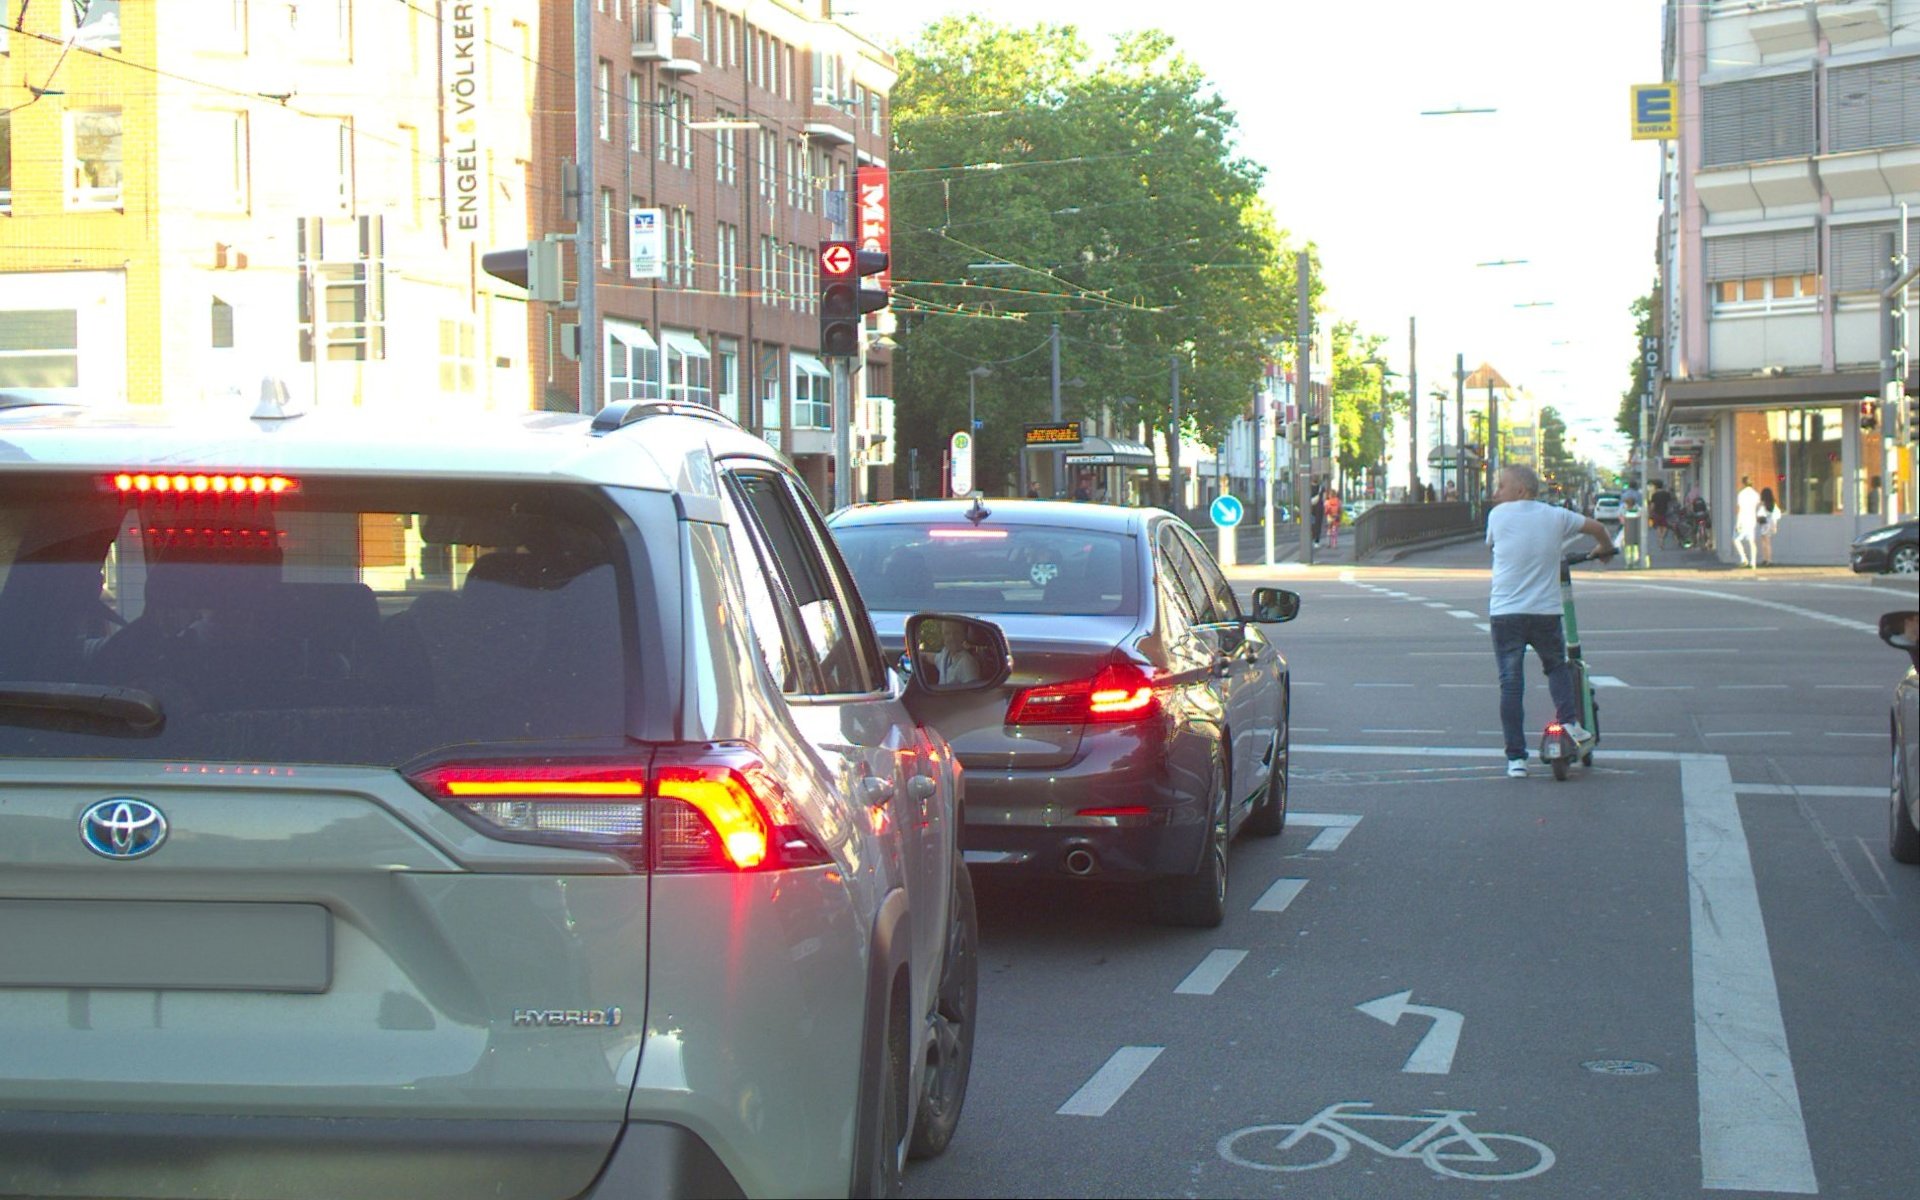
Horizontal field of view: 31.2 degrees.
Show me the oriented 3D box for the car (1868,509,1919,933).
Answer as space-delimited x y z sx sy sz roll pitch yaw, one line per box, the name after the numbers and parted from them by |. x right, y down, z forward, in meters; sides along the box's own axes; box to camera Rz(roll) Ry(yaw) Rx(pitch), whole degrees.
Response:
4.357 0.413 12.535 1.765 1.435 3.998 1 2 11 | car

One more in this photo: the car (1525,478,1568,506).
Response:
28.686 -5.278 168.188 1.994 1.305 3.999 0 2 10 | car

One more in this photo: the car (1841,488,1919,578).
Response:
16.852 -1.100 57.346 3.988 1.471 1.999 1 2 9 | car

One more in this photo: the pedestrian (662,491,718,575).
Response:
-6.591 -1.647 83.909 1.094 2.006 1.163 1 2 9 | pedestrian

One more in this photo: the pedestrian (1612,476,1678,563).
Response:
13.619 -1.603 68.357 0.932 1.720 0.852 0 2 -30 | pedestrian

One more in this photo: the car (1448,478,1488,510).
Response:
29.876 -6.253 202.123 1.995 1.853 3.998 0 2 13 | car

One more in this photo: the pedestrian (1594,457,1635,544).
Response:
16.691 -2.534 87.688 0.932 2.189 0.852 1 2 9 | pedestrian

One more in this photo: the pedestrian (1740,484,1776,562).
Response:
15.556 -1.506 67.028 0.493 1.498 0.475 -2 2 -26 | pedestrian

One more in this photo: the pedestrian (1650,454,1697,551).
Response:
17.596 -2.411 84.770 1.085 2.357 1.055 1 2 12 | pedestrian

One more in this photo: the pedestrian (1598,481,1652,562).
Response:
13.396 -1.589 69.257 0.721 1.618 0.772 -2 2 -26 | pedestrian

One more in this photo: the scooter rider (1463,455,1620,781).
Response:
3.016 0.079 17.801 0.662 1.641 0.660 2 2 20 | scooter rider

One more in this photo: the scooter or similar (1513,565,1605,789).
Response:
3.096 0.376 17.732 0.280 1.087 1.256 2 2 18 | scooter or similar

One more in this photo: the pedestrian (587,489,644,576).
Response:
-8.083 -1.585 80.709 1.094 2.006 0.908 1 2 9 | pedestrian

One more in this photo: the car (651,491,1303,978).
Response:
0.253 0.349 13.081 1.745 1.455 4.408 1 3 10 | car

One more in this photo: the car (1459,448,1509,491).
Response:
24.053 -5.981 157.865 1.994 1.894 3.998 1 2 12 | car

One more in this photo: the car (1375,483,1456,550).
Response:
12.303 -2.271 92.684 1.812 1.740 3.713 1 2 12 | car

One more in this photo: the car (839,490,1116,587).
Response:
0.325 -1.087 59.659 4.553 1.615 1.997 1 2 8 | car

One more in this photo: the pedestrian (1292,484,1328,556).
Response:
8.164 -1.870 80.131 0.701 1.658 0.807 1 2 13 | pedestrian

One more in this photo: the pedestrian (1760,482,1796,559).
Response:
16.007 -1.555 67.259 0.493 1.498 0.475 -2 2 -26 | pedestrian

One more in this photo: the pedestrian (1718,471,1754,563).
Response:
15.076 -1.612 66.783 0.493 1.768 0.475 -2 2 -26 | pedestrian

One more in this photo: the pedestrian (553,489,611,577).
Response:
-8.668 -1.543 78.908 1.094 2.006 0.908 1 2 9 | pedestrian

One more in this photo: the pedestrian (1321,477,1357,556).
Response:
8.794 -1.933 79.673 0.701 1.816 0.807 1 2 13 | pedestrian

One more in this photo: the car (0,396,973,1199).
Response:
-0.976 0.477 6.170 1.835 1.630 4.091 1 3 2 | car
